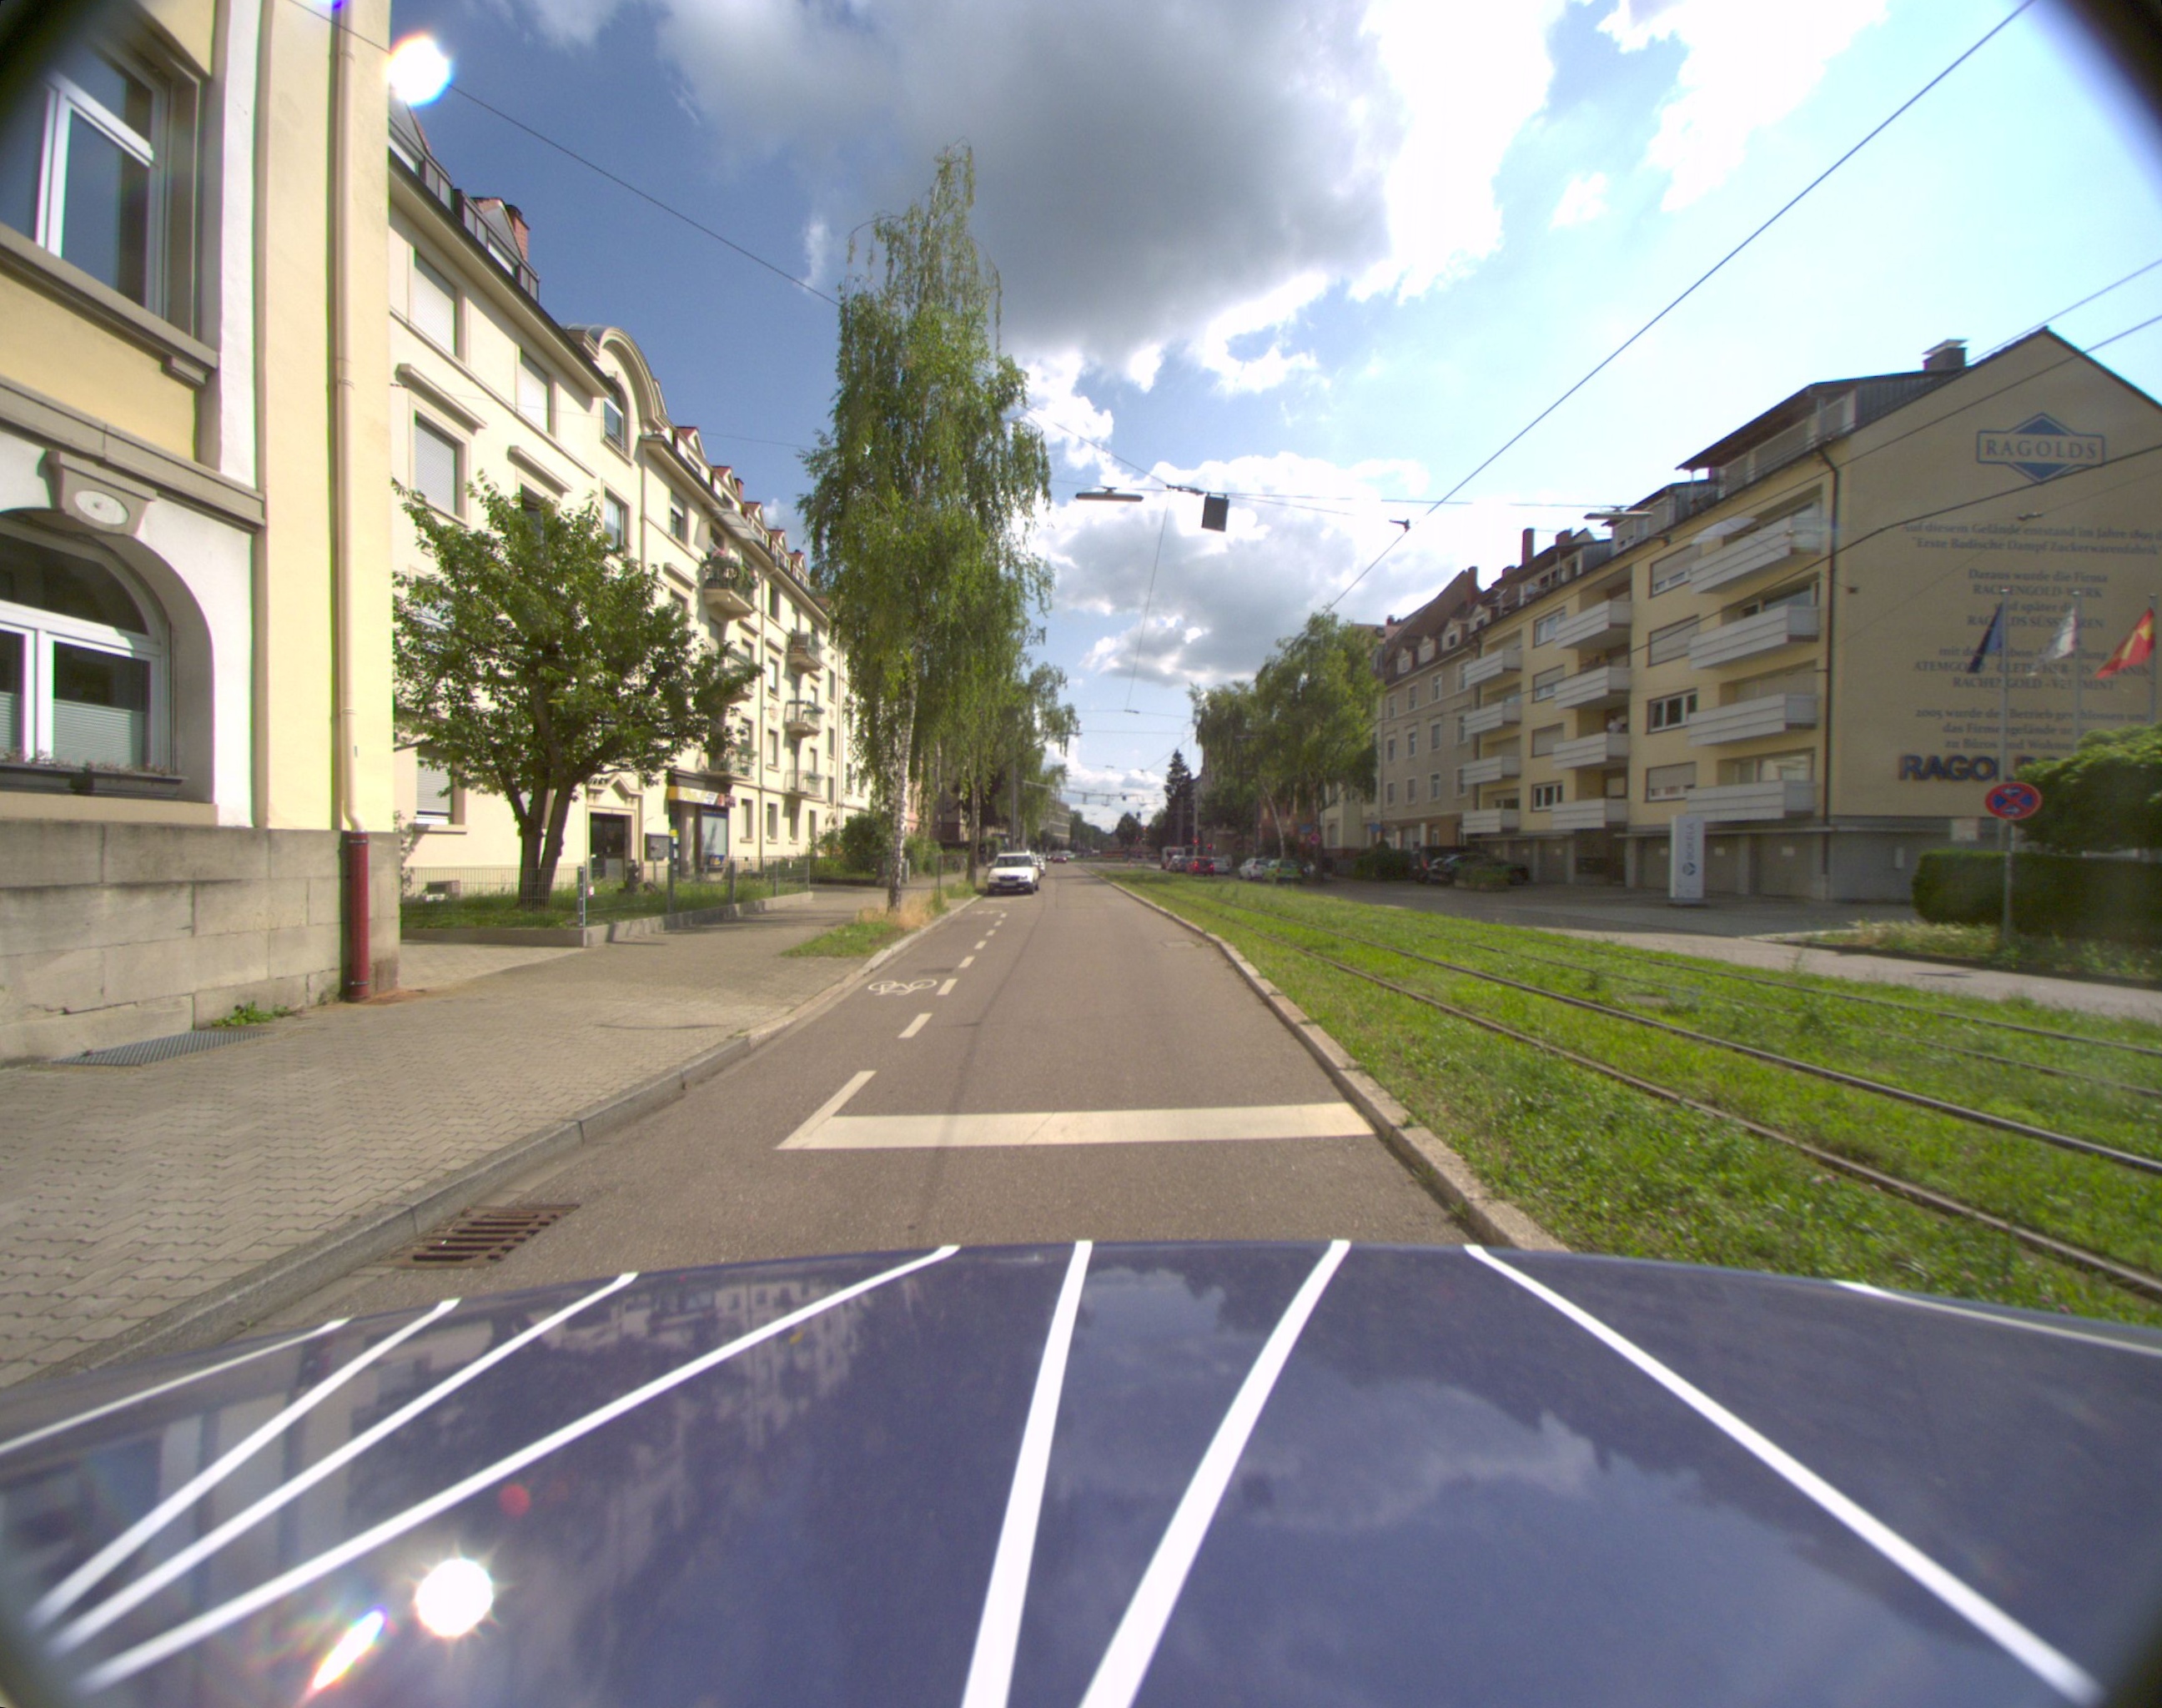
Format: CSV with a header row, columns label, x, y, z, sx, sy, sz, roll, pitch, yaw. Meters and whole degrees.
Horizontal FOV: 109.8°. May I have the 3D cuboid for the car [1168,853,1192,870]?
label,x,y,z,sx,sy,sz,roll,pitch,yaw
car,9.160,0.656,70.543,1.759,1.406,4.134,3,1,3

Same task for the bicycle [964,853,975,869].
label,x,y,z,sx,sy,sz,roll,pitch,yaw
bicycle,-8.017,0.483,54.653,0.472,1.071,2.182,1,0,0

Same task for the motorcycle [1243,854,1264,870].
label,x,y,z,sx,sy,sz,roll,pitch,yaw
motorcycle,13.878,0.640,61.202,0.903,1.235,2.293,1,0,-7

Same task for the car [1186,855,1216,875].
label,x,y,z,sx,sy,sz,roll,pitch,yaw
car,8.893,0.809,56.675,1.583,1.379,3.692,1,0,-1

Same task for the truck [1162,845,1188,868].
label,x,y,z,sx,sy,sz,roll,pitch,yaw
truck,9.830,0.232,79.834,2.190,2.201,6.613,2,0,3

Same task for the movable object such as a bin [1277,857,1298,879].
label,x,y,z,sx,sy,sz,roll,pitch,yaw
movable object such as a bin,14.105,0.930,51.891,0.953,1.421,1.521,-2,1,-2

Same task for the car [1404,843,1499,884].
label,x,y,z,sx,sy,sz,roll,pitch,yaw
car,19.291,0.492,39.637,3.996,2.002,1.937,-1,1,2

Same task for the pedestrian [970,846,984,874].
label,x,y,z,sx,sy,sz,roll,pitch,yaw
pedestrian,-6.392,0.358,46.729,0.731,1.673,0.691,3,1,1

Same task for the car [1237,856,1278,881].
label,x,y,z,sx,sy,sz,roll,pitch,yaw
car,11.703,0.920,50.683,1.649,1.469,4.225,2,0,-1

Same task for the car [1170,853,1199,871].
label,x,y,z,sx,sy,sz,roll,pitch,yaw
car,8.647,0.663,63.895,1.759,1.348,4.511,3,1,0

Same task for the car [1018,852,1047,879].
label,x,y,z,sx,sy,sz,roll,pitch,yaw
car,-2.951,0.676,46.758,1.593,1.444,3.843,-3,1,-2

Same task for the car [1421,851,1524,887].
label,x,y,z,sx,sy,sz,roll,pitch,yaw
car,18.963,0.710,36.961,3.997,1.593,1.972,-1,1,-2

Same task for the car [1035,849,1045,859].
label,x,y,z,sx,sy,sz,roll,pitch,yaw
car,-7.964,-0.026,146.975,1.999,1.730,3.998,1,0,-3

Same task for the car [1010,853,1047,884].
label,x,y,z,sx,sy,sz,roll,pitch,yaw
car,-2.544,0.684,37.830,1.677,1.409,3.794,-2,1,-2

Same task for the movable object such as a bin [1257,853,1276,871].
label,x,y,z,sx,sy,sz,roll,pitch,yaw
movable object such as a bin,14.256,0.604,58.384,0.953,1.359,1.521,-4,1,-2

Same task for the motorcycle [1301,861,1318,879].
label,x,y,z,sx,sy,sz,roll,pitch,yaw
motorcycle,14.247,1.002,47.419,0.500,1.037,1.631,-3,2,-2

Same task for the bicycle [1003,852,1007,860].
label,x,y,z,sx,sy,sz,roll,pitch,yaw
bicycle,-9.461,0.267,94.489,0.350,1.016,1.480,4,0,-3

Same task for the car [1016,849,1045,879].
label,x,y,z,sx,sy,sz,roll,pitch,yaw
car,-2.806,0.535,42.370,1.497,1.570,3.757,-2,0,-3

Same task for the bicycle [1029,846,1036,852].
label,x,y,z,sx,sy,sz,roll,pitch,yaw
bicycle,-7.245,-0.736,113.459,0.771,0.885,1.892,1,0,4

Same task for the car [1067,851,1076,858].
label,x,y,z,sx,sy,sz,roll,pitch,yaw
car,-2.152,0.041,172.754,1.739,1.570,4.000,1,0,2

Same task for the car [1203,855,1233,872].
label,x,y,z,sx,sy,sz,roll,pitch,yaw
car,11.516,0.784,64.060,1.759,1.348,3.994,1,0,0

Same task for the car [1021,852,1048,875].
label,x,y,z,sx,sy,sz,roll,pitch,yaw
car,-3.111,0.615,51.598,1.624,1.444,3.917,-3,1,-2

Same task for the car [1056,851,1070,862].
label,x,y,z,sx,sy,sz,roll,pitch,yaw
car,-2.462,0.330,105.374,1.741,1.313,4.000,-1,1,2

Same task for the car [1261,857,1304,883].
label,x,y,z,sx,sy,sz,roll,pitch,yaw
car,12.039,0.930,45.600,1.598,1.424,3.614,1,0,-1

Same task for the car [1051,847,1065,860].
label,x,y,z,sx,sy,sz,roll,pitch,yaw
car,-3.772,-0.124,125.474,1.998,2.002,4.000,1,0,1

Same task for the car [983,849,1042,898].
label,x,y,z,sx,sy,sz,roll,pitch,yaw
car,-2.485,0.662,28.333,1.725,1.620,4.000,-2,1,1

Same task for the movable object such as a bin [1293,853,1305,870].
label,x,y,z,sx,sy,sz,roll,pitch,yaw
movable object such as a bin,17.301,0.565,60.307,0.675,1.354,0.699,1,1,-5
